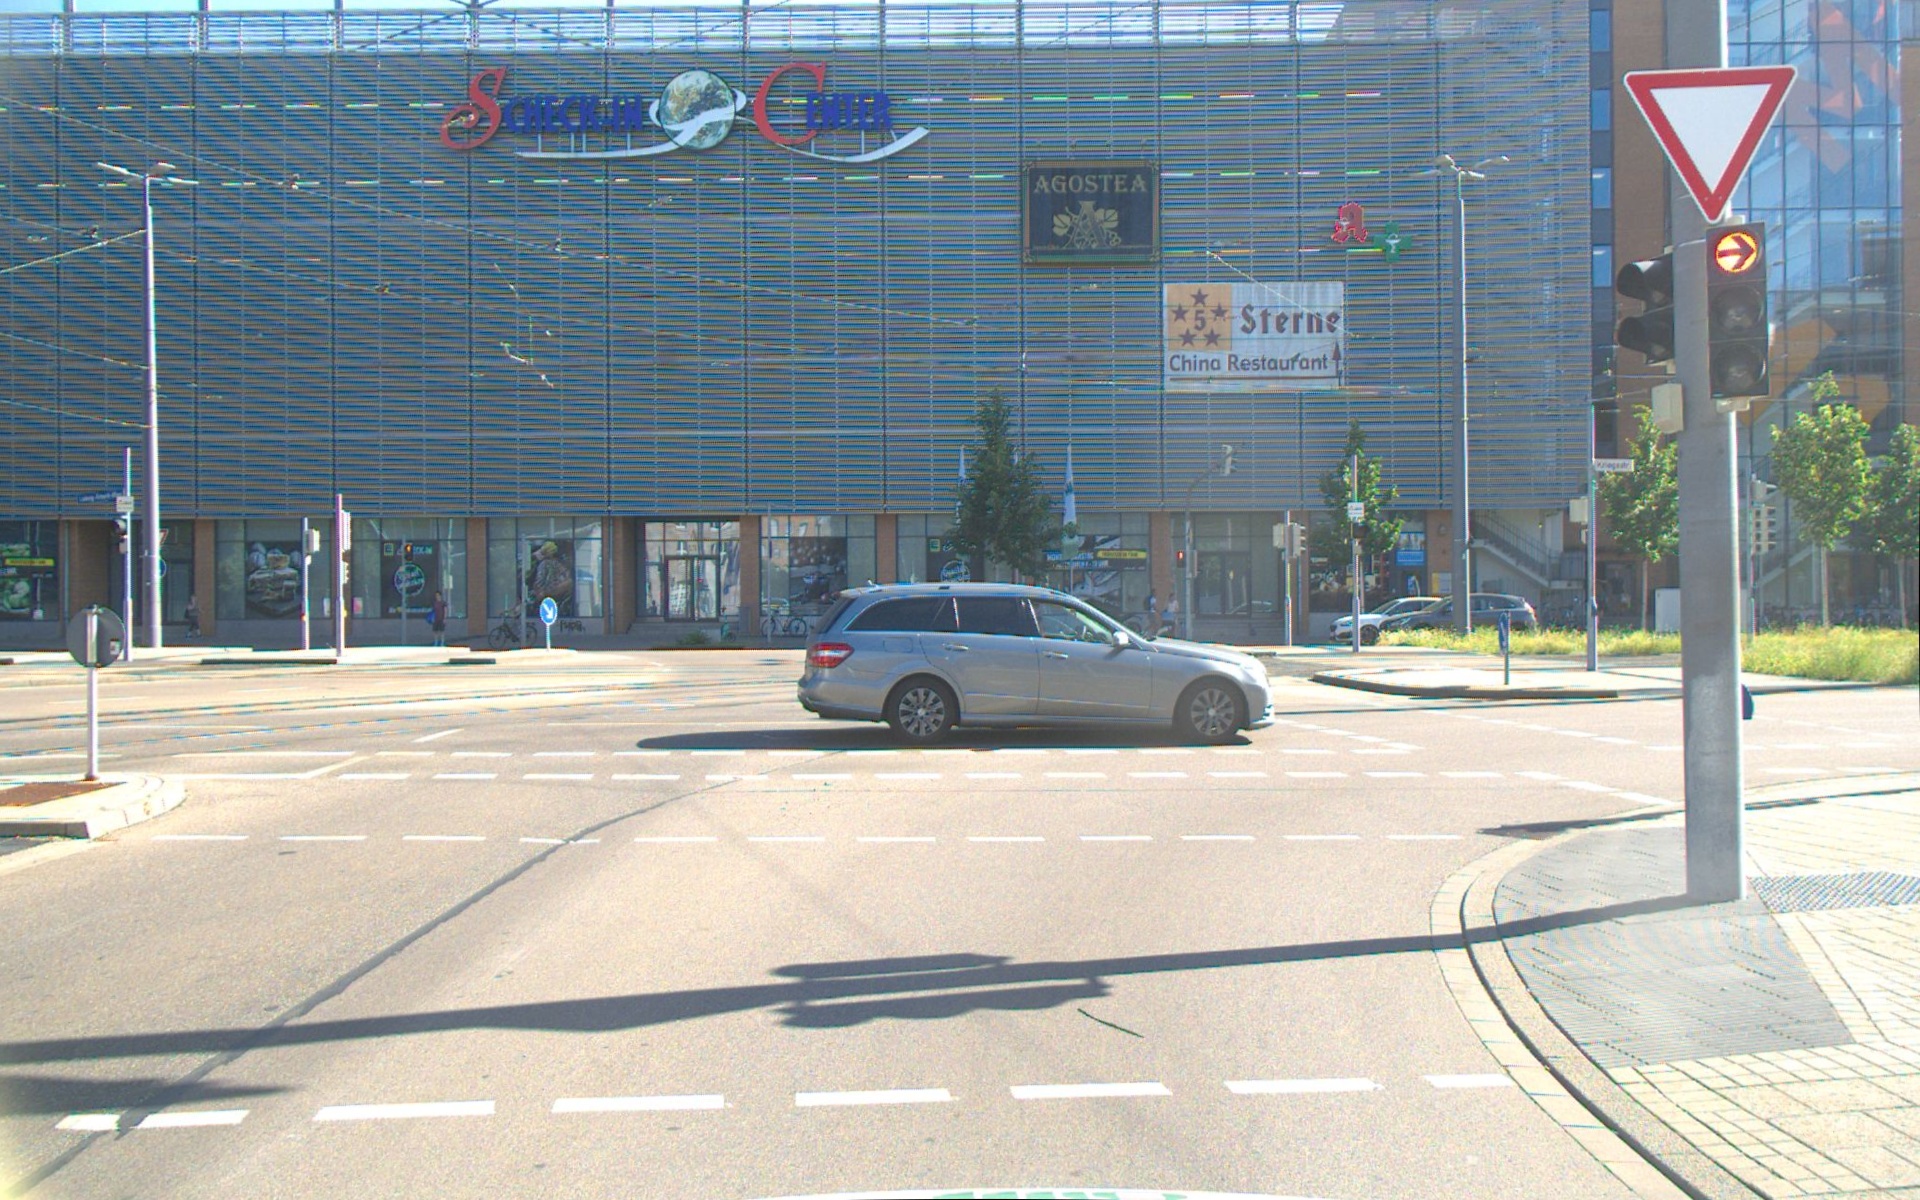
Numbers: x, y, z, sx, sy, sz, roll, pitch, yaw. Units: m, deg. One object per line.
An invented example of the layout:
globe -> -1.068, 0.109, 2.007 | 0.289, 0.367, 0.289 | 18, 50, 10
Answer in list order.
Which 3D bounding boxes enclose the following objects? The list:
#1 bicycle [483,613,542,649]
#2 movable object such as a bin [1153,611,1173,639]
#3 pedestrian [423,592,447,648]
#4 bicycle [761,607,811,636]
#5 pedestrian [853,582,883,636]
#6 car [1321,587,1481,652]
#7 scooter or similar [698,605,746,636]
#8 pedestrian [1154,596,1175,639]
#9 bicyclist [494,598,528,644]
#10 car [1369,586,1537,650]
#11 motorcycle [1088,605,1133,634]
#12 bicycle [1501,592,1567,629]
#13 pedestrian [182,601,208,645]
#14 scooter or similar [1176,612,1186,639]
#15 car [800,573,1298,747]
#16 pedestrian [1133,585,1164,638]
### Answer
bicycle -> -14.766, 1.007, 54.622 | 0.559, 1.105, 1.852 | 0, 2, 42
movable object such as a bin -> 6.743, 0.833, 54.898 | 0.599, 0.920, 0.970 | 1, 0, 10
pedestrian -> -17.337, 0.663, 54.670 | 0.683, 1.829, 0.727 | -2, 0, -17
bicycle -> -6.364, 0.779, 60.435 | 1.783, 1.006, 0.556 | 0, 1, -11
pedestrian -> -3.315, 0.319, 59.506 | 0.930, 1.860, 0.846 | -2, -4, 5
car -> 13.138, 0.576, 49.405 | 4.203, 1.673, 1.840 | 3, -1, -2
scooter or similar -> -8.745, 0.748, 60.782 | 1.759, 1.085, 0.611 | 0, 1, -9
pedestrian -> 6.858, 0.579, 55.365 | 0.641, 1.438, 0.850 | 1, 0, 10
bicyclist -> -14.798, 0.690, 54.546 | 0.663, 1.452, 0.844 | 0, 2, 42
car -> 13.670, 0.498, 46.047 | 4.063, 1.495, 1.840 | 3, -1, -2
motorcycle -> 5.531, 0.729, 60.709 | 1.605, 1.022, 0.447 | 1, 0, 6
bicycle -> 21.290, 0.392, 61.352 | 2.209, 1.318, 0.605 | 1, -1, -2
pedestrian -> -28.535, 0.858, 61.698 | 0.646, 1.629, 0.594 | 1, -1, 18
scooter or similar -> 7.367, 0.835, 55.191 | 0.288, 0.888, 1.004 | 1, 0, 10
car -> 0.808, 0.549, 16.528 | 4.764, 1.599, 1.704 | 0, 0, -7
pedestrian -> 6.758, 0.403, 59.341 | 0.991, 1.860, 1.036 | -2, 0, 3
